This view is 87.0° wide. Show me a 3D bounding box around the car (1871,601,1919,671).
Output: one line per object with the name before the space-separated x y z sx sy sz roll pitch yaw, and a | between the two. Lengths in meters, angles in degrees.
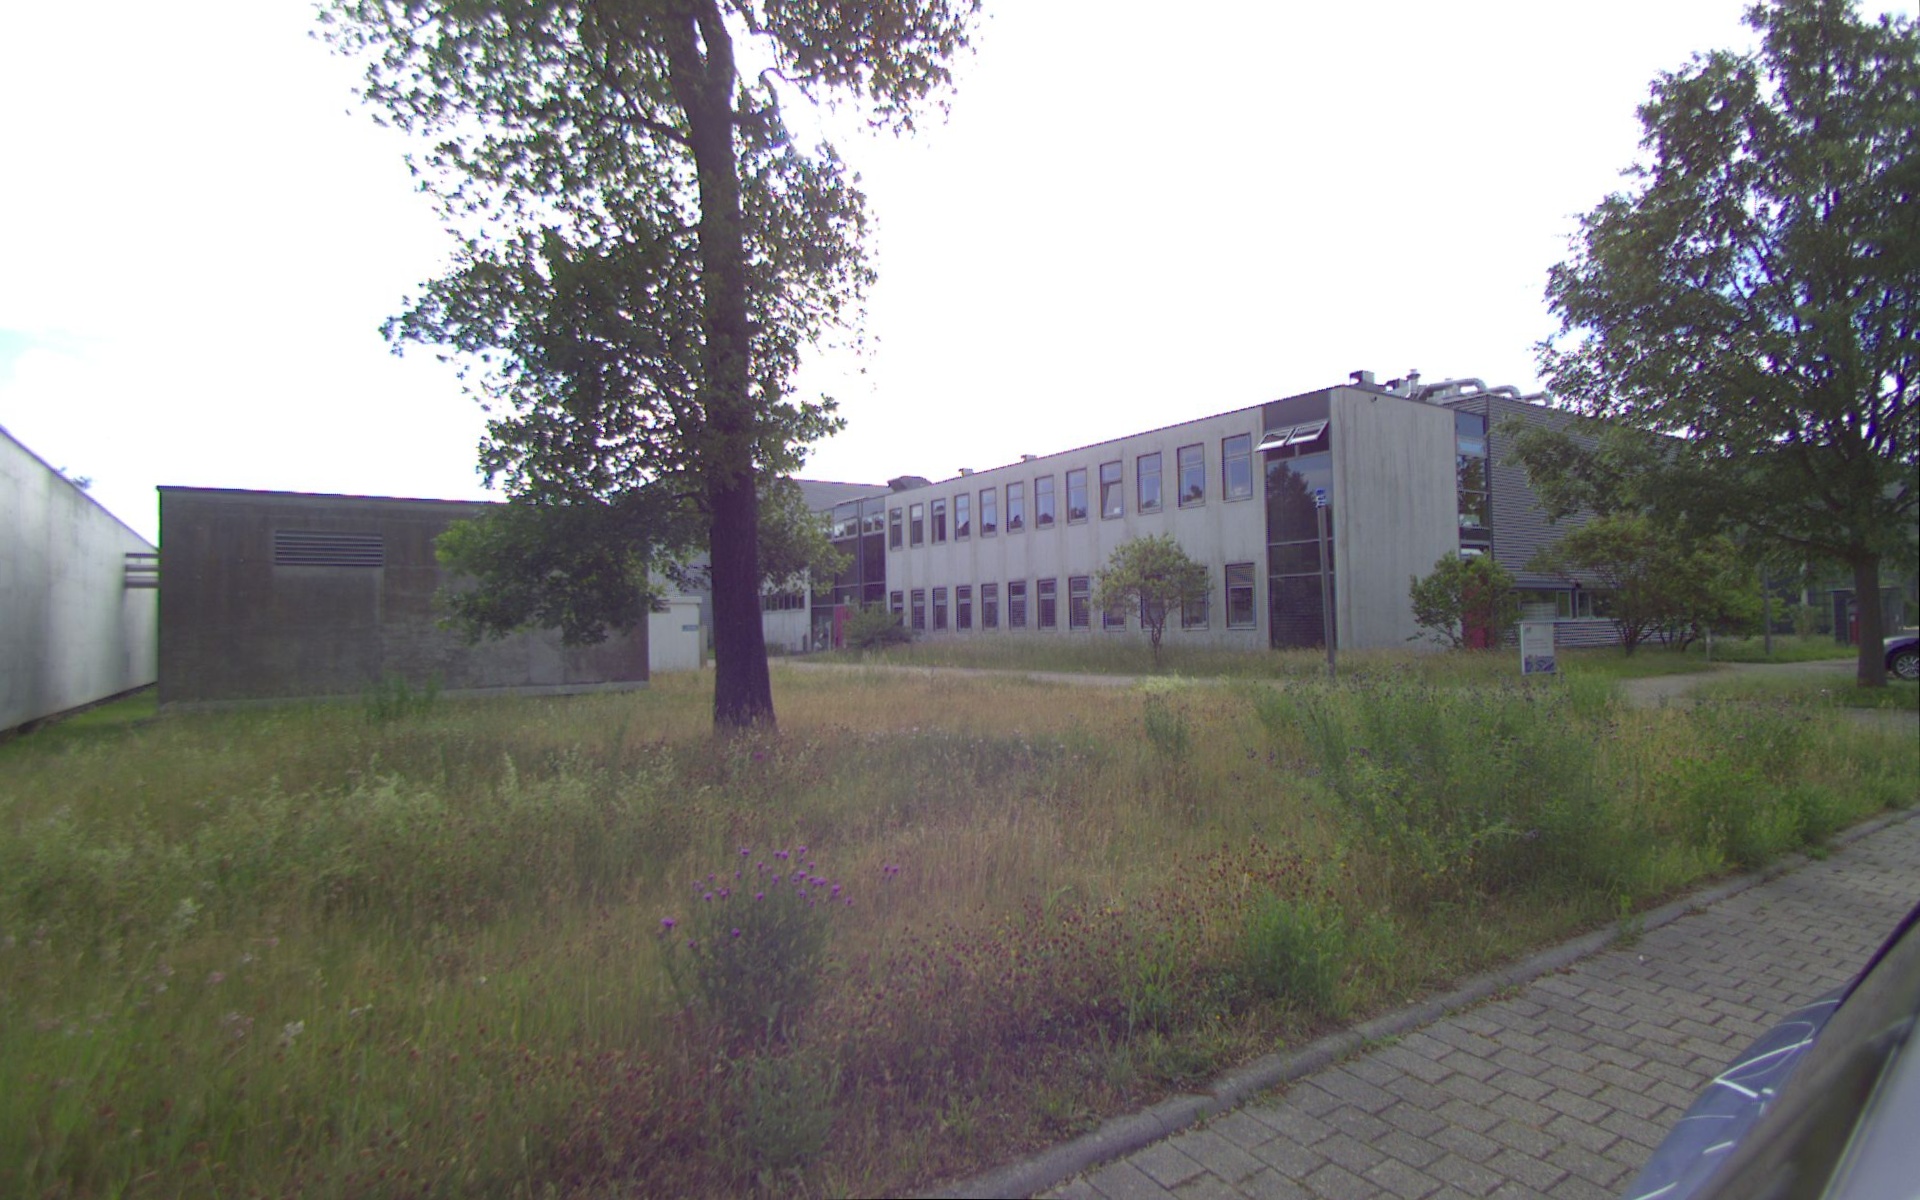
car | 21.665 0.744 20.489 1.907 1.465 4.478 0 -1 -35
